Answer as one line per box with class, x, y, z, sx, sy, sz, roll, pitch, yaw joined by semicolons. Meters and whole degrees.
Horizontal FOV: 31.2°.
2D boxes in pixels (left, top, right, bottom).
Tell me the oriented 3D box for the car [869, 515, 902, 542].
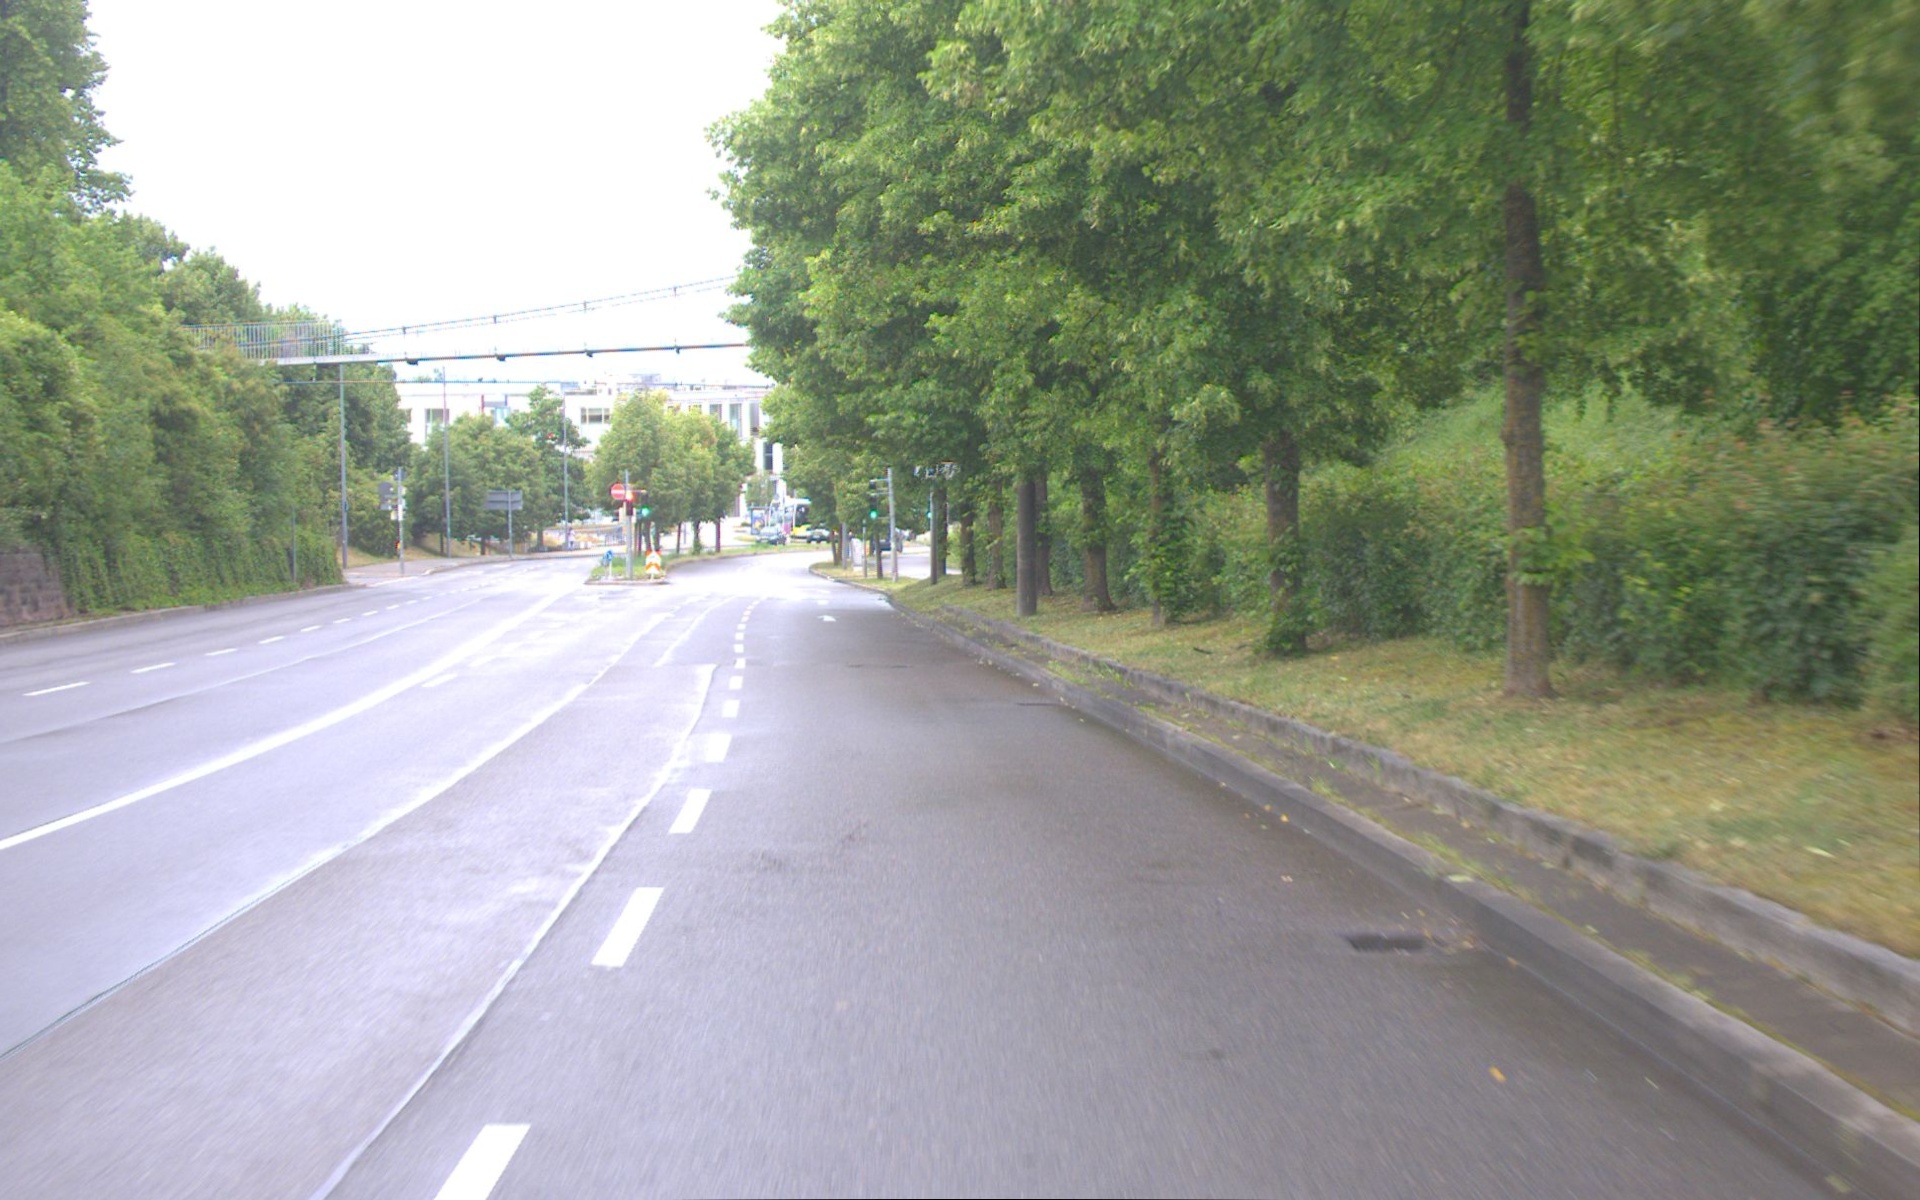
car;-5.066;-4.842;233.192;1.849;1.696;3.792;1;0;4
